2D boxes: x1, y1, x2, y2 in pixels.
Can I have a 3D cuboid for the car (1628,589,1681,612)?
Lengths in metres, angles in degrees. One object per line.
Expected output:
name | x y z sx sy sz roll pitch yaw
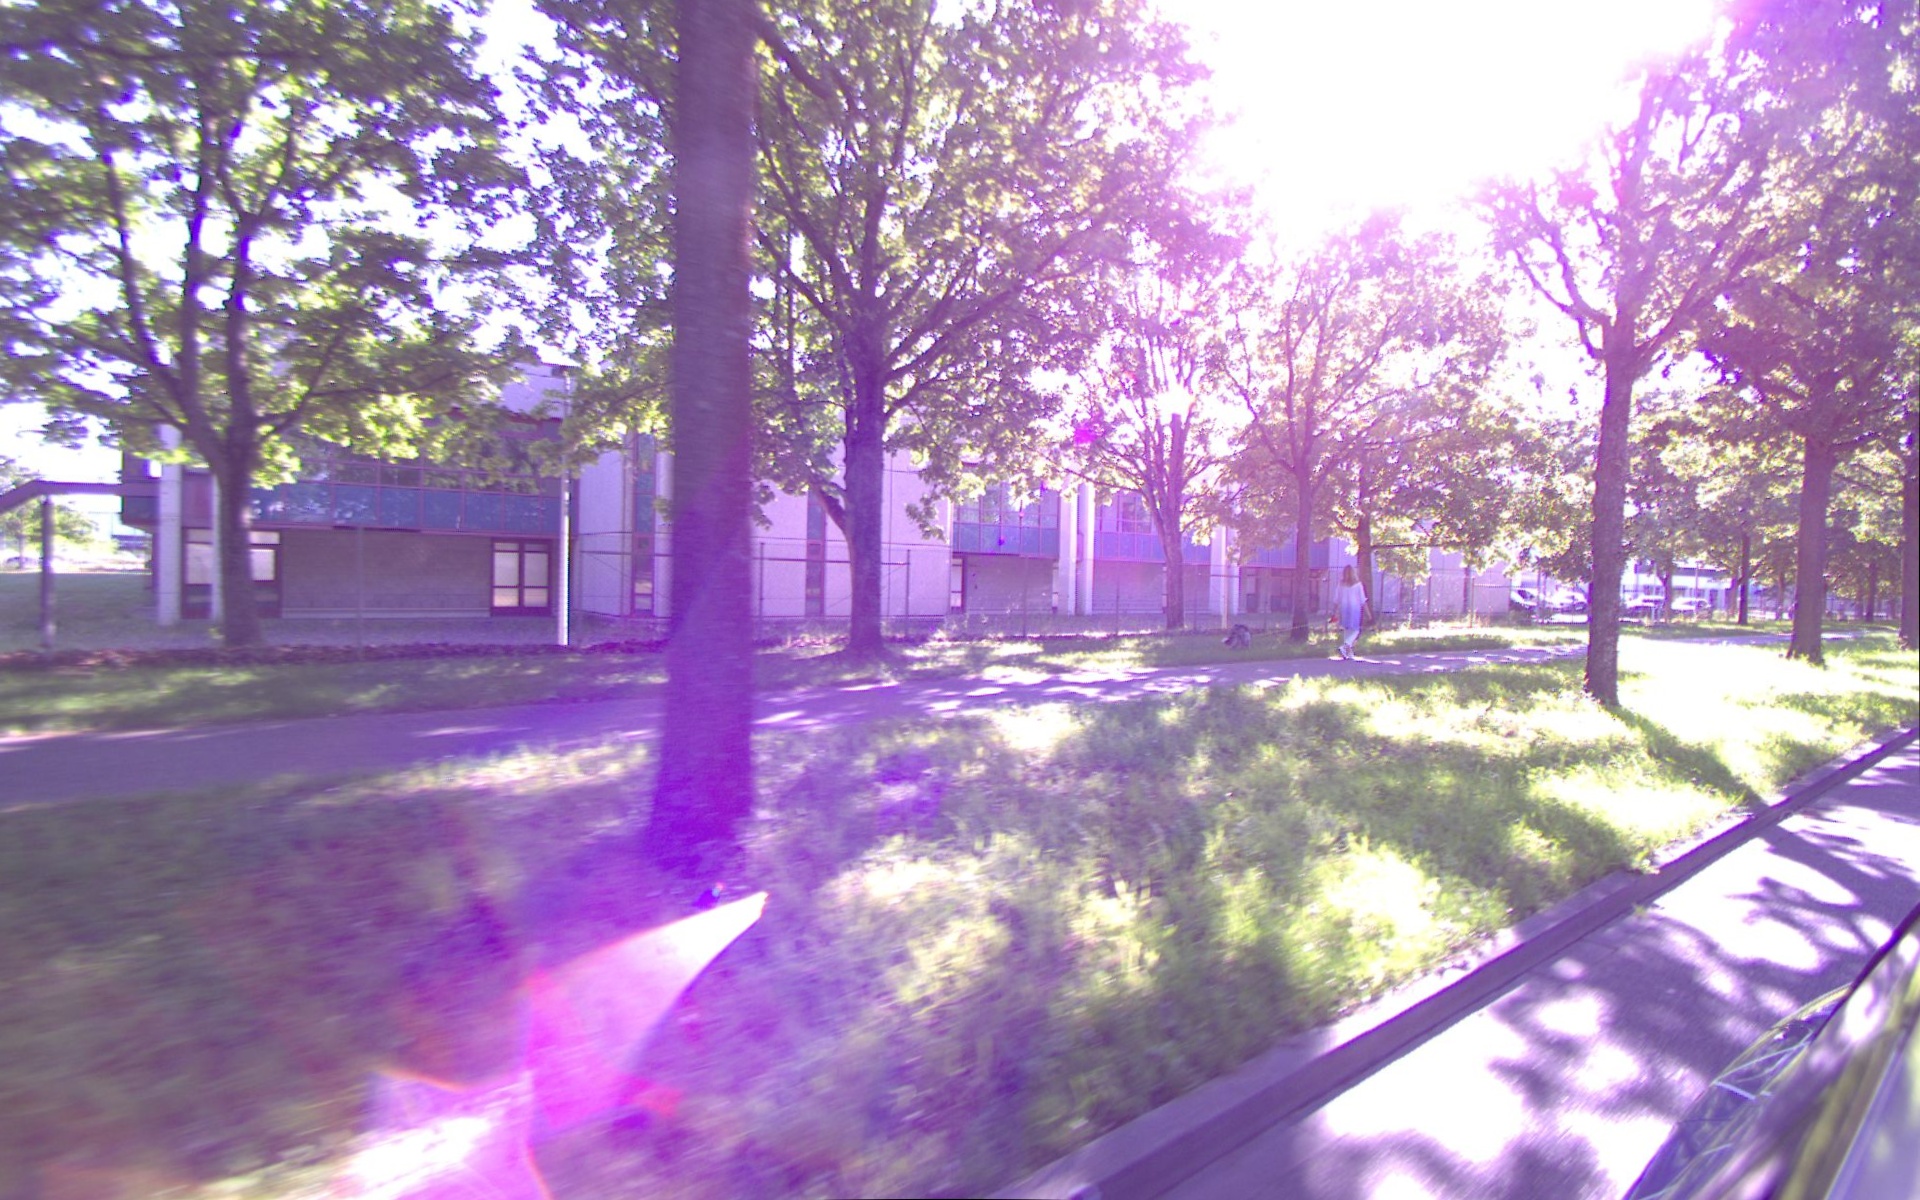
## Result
car | 50.629 0.041 73.766 4.375 1.578 1.999 0 2 -39

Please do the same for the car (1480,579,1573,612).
car | 38.244 -0.349 68.424 1.862 1.983 5.073 0 3 -41

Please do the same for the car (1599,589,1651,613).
car | 49.703 0.093 75.579 4.375 1.694 1.999 0 2 -39

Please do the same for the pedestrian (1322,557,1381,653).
pedestrian | 7.001 0.079 18.085 0.706 1.650 0.610 1 3 -39
